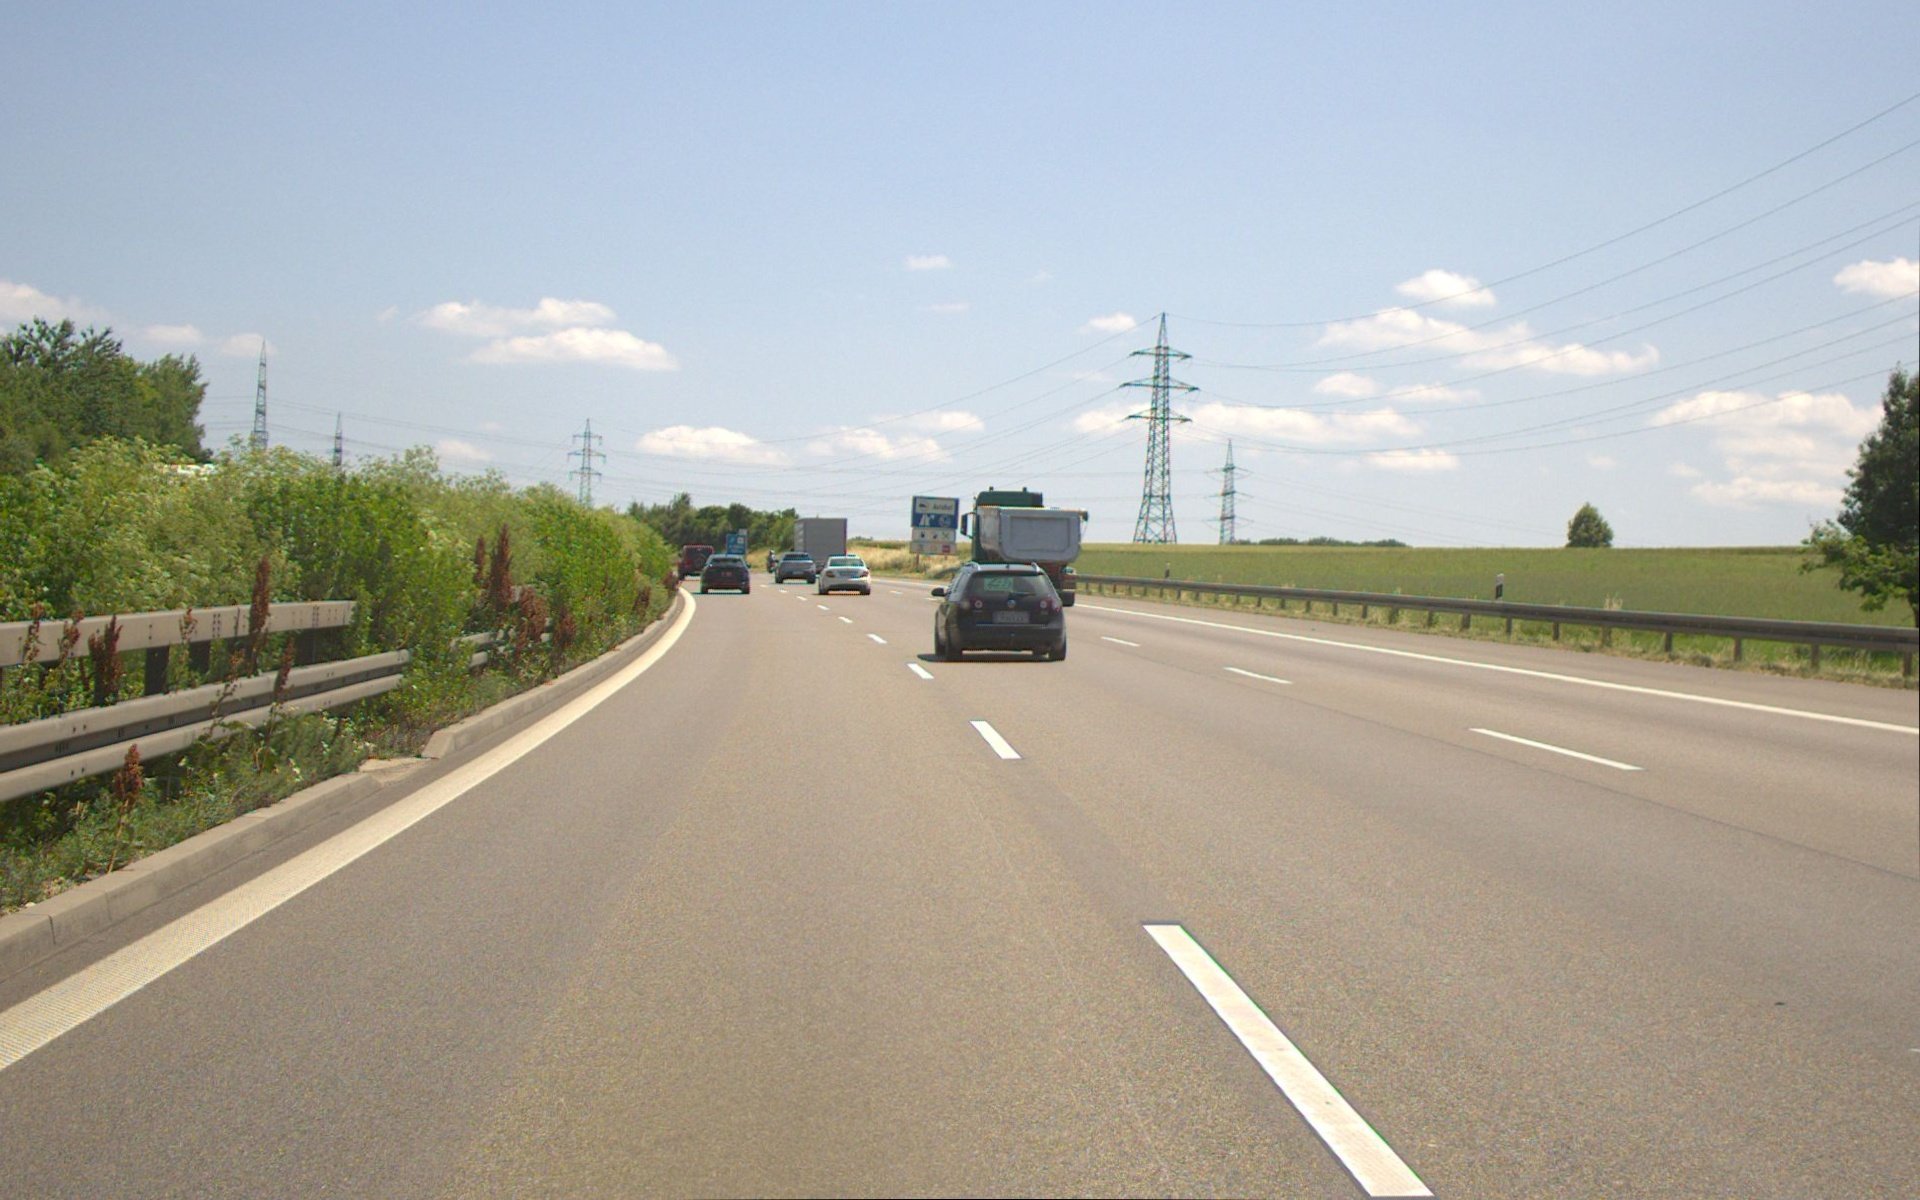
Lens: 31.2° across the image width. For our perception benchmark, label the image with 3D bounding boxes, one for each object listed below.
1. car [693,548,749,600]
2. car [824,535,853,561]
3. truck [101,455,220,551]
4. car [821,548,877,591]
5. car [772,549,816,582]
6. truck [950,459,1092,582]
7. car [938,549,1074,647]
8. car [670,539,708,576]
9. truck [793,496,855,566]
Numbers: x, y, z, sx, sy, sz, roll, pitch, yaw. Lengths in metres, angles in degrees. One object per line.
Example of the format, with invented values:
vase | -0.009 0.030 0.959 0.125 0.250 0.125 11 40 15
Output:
car | -8.922 -0.976 128.206 1.993 1.853 4.001 1 1 -5
car | -8.839 -3.761 250.129 1.993 1.846 4.001 1 1 -4
truck | -23.607 -2.838 101.676 2.688 2.739 4.646 1 1 -3
car | -4.129 -1.142 127.181 1.819 1.535 3.915 1 1 -5
car | -8.043 -1.667 166.139 1.838 1.535 3.915 1 1 -7
truck | 1.838 -2.500 111.200 2.864 3.711 12.766 1 1 -7
car | 0.662 -0.055 52.439 1.756 1.424 4.001 1 1 -4
car | -14.124 -2.215 179.054 1.901 1.919 4.001 1 1 -5
truck | -8.141 -4.057 204.418 3.220 3.911 9.062 1 0 -5
